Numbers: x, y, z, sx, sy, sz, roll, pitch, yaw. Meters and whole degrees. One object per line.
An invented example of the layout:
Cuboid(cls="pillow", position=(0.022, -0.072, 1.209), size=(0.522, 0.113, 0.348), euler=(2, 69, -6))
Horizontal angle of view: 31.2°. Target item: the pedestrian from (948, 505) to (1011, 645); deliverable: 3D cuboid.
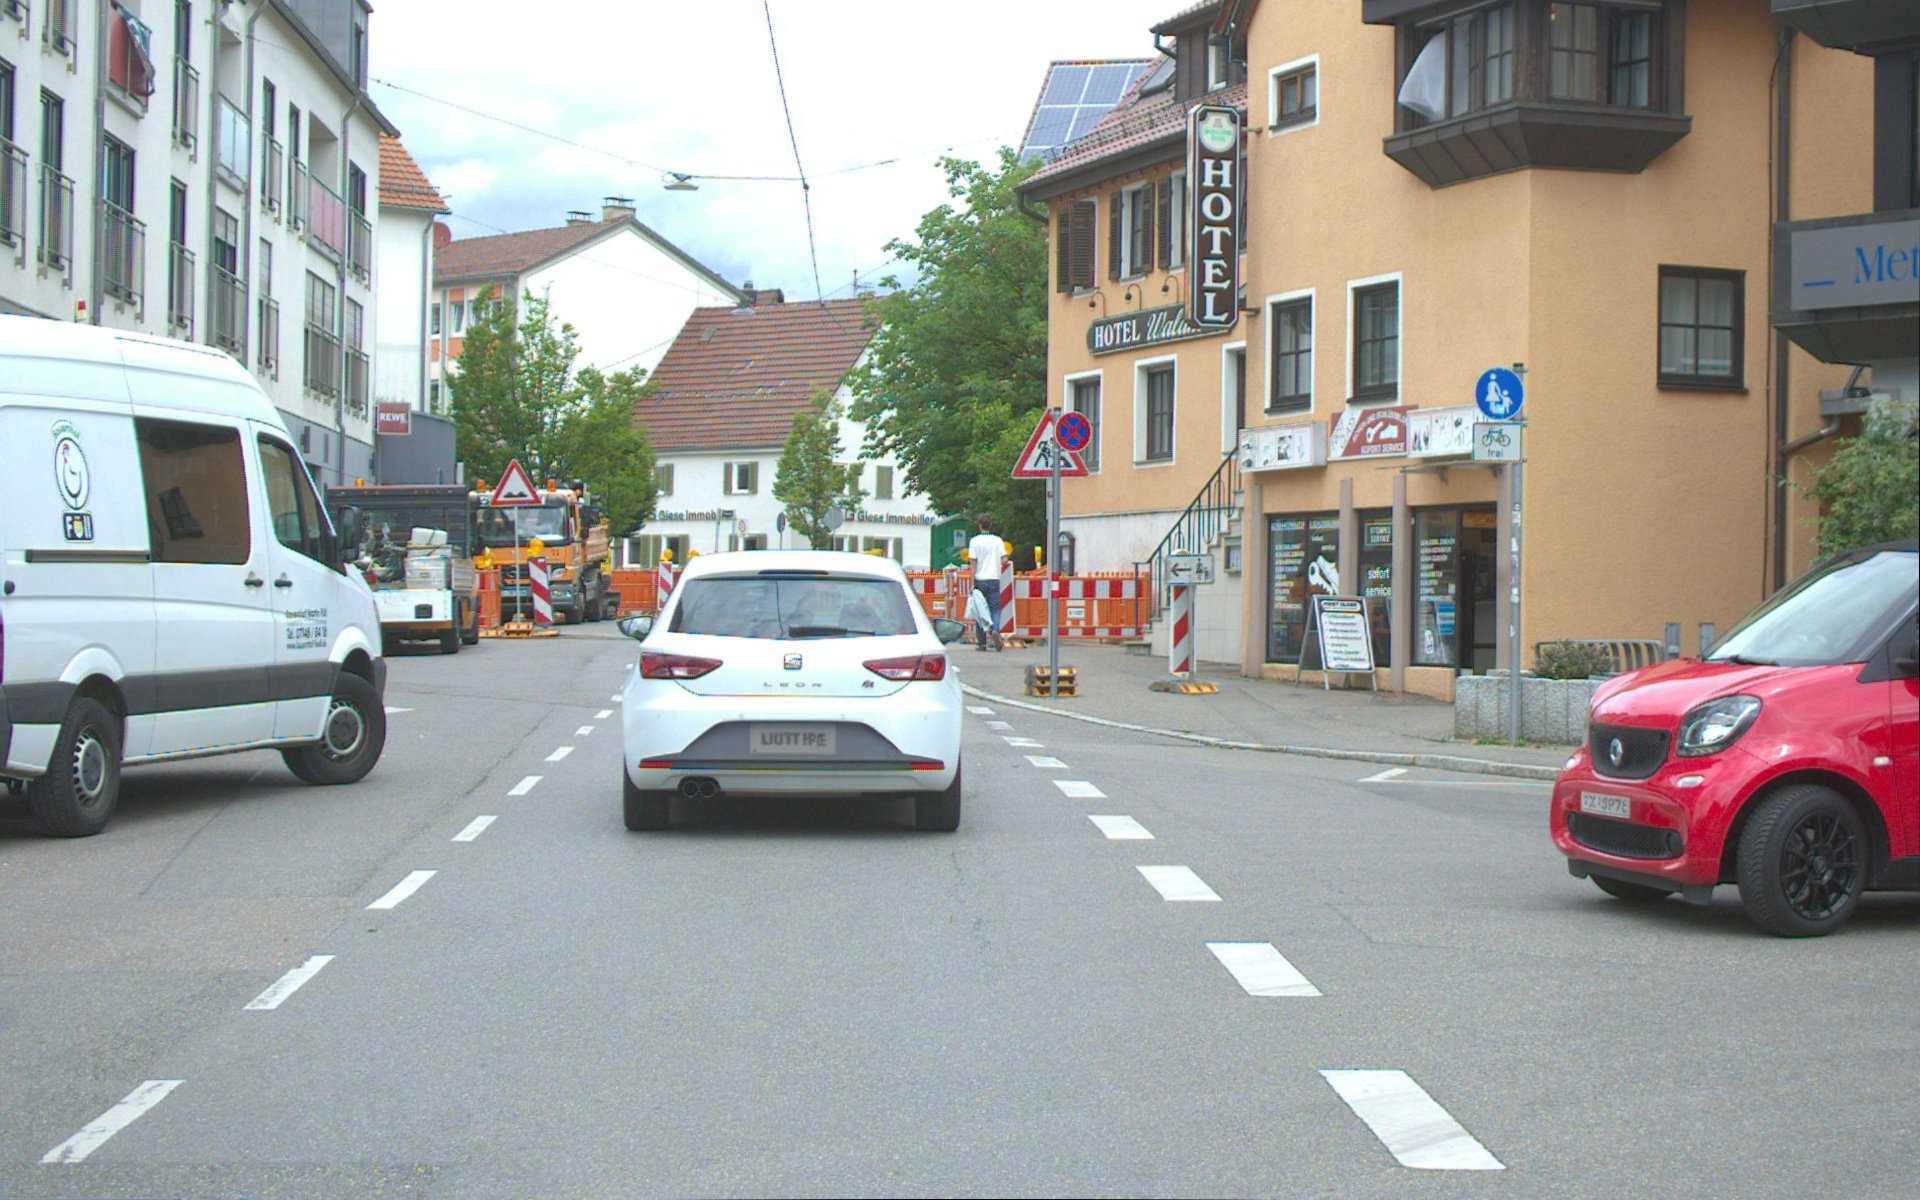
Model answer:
Cuboid(cls="pedestrian", position=(0.269, -0.357, 48.214), size=(0.798, 1.943, 0.836), euler=(0, 1, -5))

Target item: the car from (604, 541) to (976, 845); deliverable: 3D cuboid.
Cuboid(cls="car", position=(-0.935, 0.422, 18.742), size=(1.811, 1.475, 3.871), euler=(0, 1, -3))

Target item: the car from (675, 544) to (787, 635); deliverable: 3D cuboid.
Cuboid(cls="car", position=(-3.863, -0.199, 58.041), size=(1.811, 1.475, 3.871), euler=(0, 1, -4))

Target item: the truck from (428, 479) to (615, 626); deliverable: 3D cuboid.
Cuboid(cls="truck", position=(-8.532, -0.951, 67.621), size=(2.731, 2.715, 6.848), euler=(0, 1, 0))

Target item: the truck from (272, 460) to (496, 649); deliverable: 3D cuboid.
Cuboid(cls="truck", position=(-7.918, -0.654, 47.884), size=(2.413, 2.457, 6.309), euler=(0, 1, -3))

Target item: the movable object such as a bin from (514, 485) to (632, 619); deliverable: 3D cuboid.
Cuboid(cls="movable object such as a bin", position=(-8.259, -0.984, 73.684), size=(1.839, 2.754, 4.505), euler=(1, -1, 2))

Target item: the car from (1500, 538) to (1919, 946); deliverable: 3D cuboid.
Cuboid(cls="car", position=(3.920, 0.513, 13.990), size=(2.929, 1.515, 1.821), euler=(0, 1, -13))

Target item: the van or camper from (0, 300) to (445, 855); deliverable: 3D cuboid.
Cuboid(cls="van or camper", position=(-5.049, -0.164, 19.166), size=(2.320, 2.598, 6.205), euler=(0, 1, 11))
